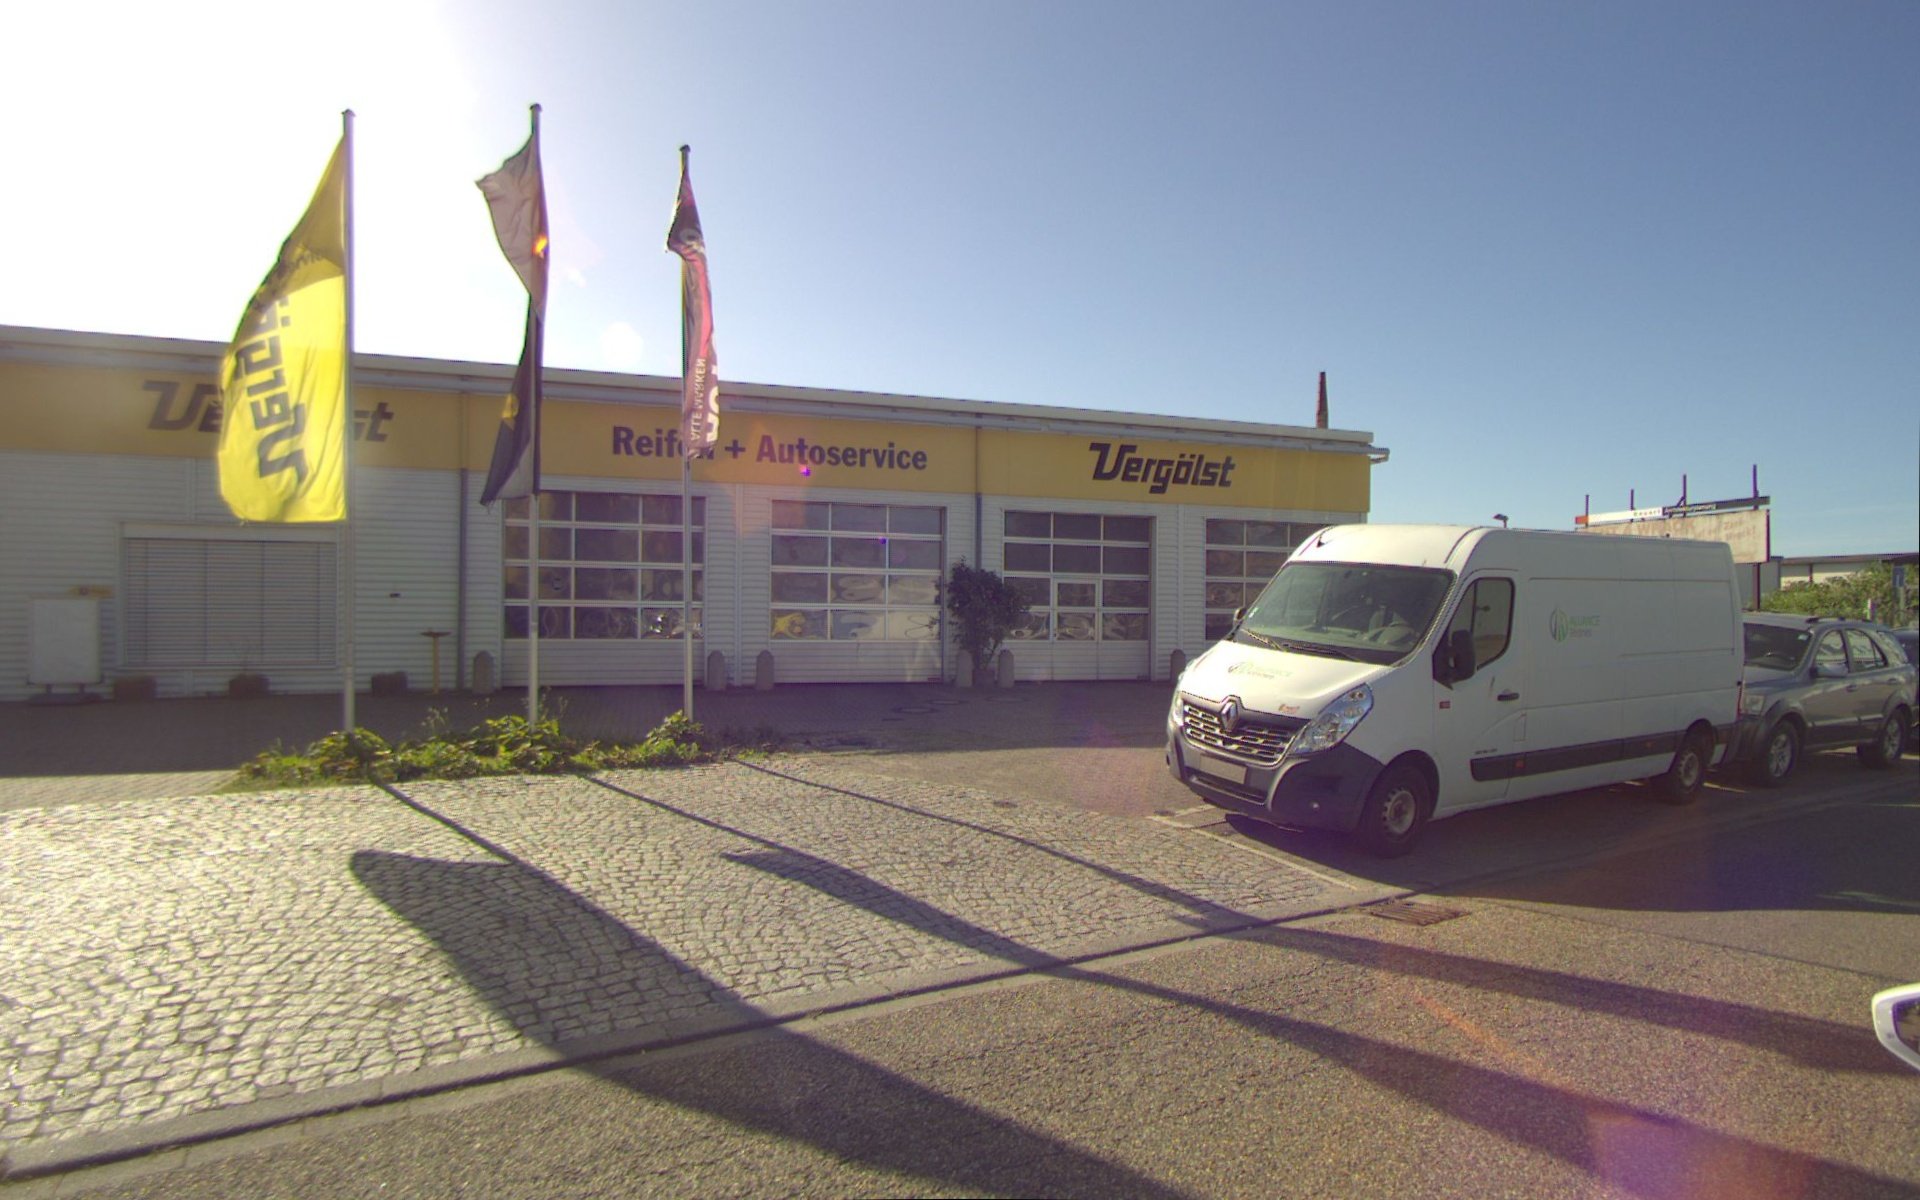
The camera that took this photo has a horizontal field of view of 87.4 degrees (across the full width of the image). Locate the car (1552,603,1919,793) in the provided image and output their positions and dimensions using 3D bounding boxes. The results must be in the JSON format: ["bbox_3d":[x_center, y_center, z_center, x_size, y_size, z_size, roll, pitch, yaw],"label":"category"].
[{"bbox_3d":[9.341,1.002,11.811,4.517,1.761,1.985,1,3,-28],"label":"car"}]

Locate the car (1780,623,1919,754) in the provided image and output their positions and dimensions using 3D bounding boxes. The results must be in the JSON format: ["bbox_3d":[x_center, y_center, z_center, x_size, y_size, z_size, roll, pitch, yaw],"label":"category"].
[{"bbox_3d":[13.910,1.174,14.332,4.944,1.530,1.790,1,3,-31],"label":"car"}]

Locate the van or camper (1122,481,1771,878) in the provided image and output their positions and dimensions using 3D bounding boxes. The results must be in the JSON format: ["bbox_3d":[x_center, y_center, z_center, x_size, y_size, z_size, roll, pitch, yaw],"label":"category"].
[{"bbox_3d":[4.611,0.509,9.041,6.331,2.584,2.059,1,3,-32],"label":"van or camper"}]
